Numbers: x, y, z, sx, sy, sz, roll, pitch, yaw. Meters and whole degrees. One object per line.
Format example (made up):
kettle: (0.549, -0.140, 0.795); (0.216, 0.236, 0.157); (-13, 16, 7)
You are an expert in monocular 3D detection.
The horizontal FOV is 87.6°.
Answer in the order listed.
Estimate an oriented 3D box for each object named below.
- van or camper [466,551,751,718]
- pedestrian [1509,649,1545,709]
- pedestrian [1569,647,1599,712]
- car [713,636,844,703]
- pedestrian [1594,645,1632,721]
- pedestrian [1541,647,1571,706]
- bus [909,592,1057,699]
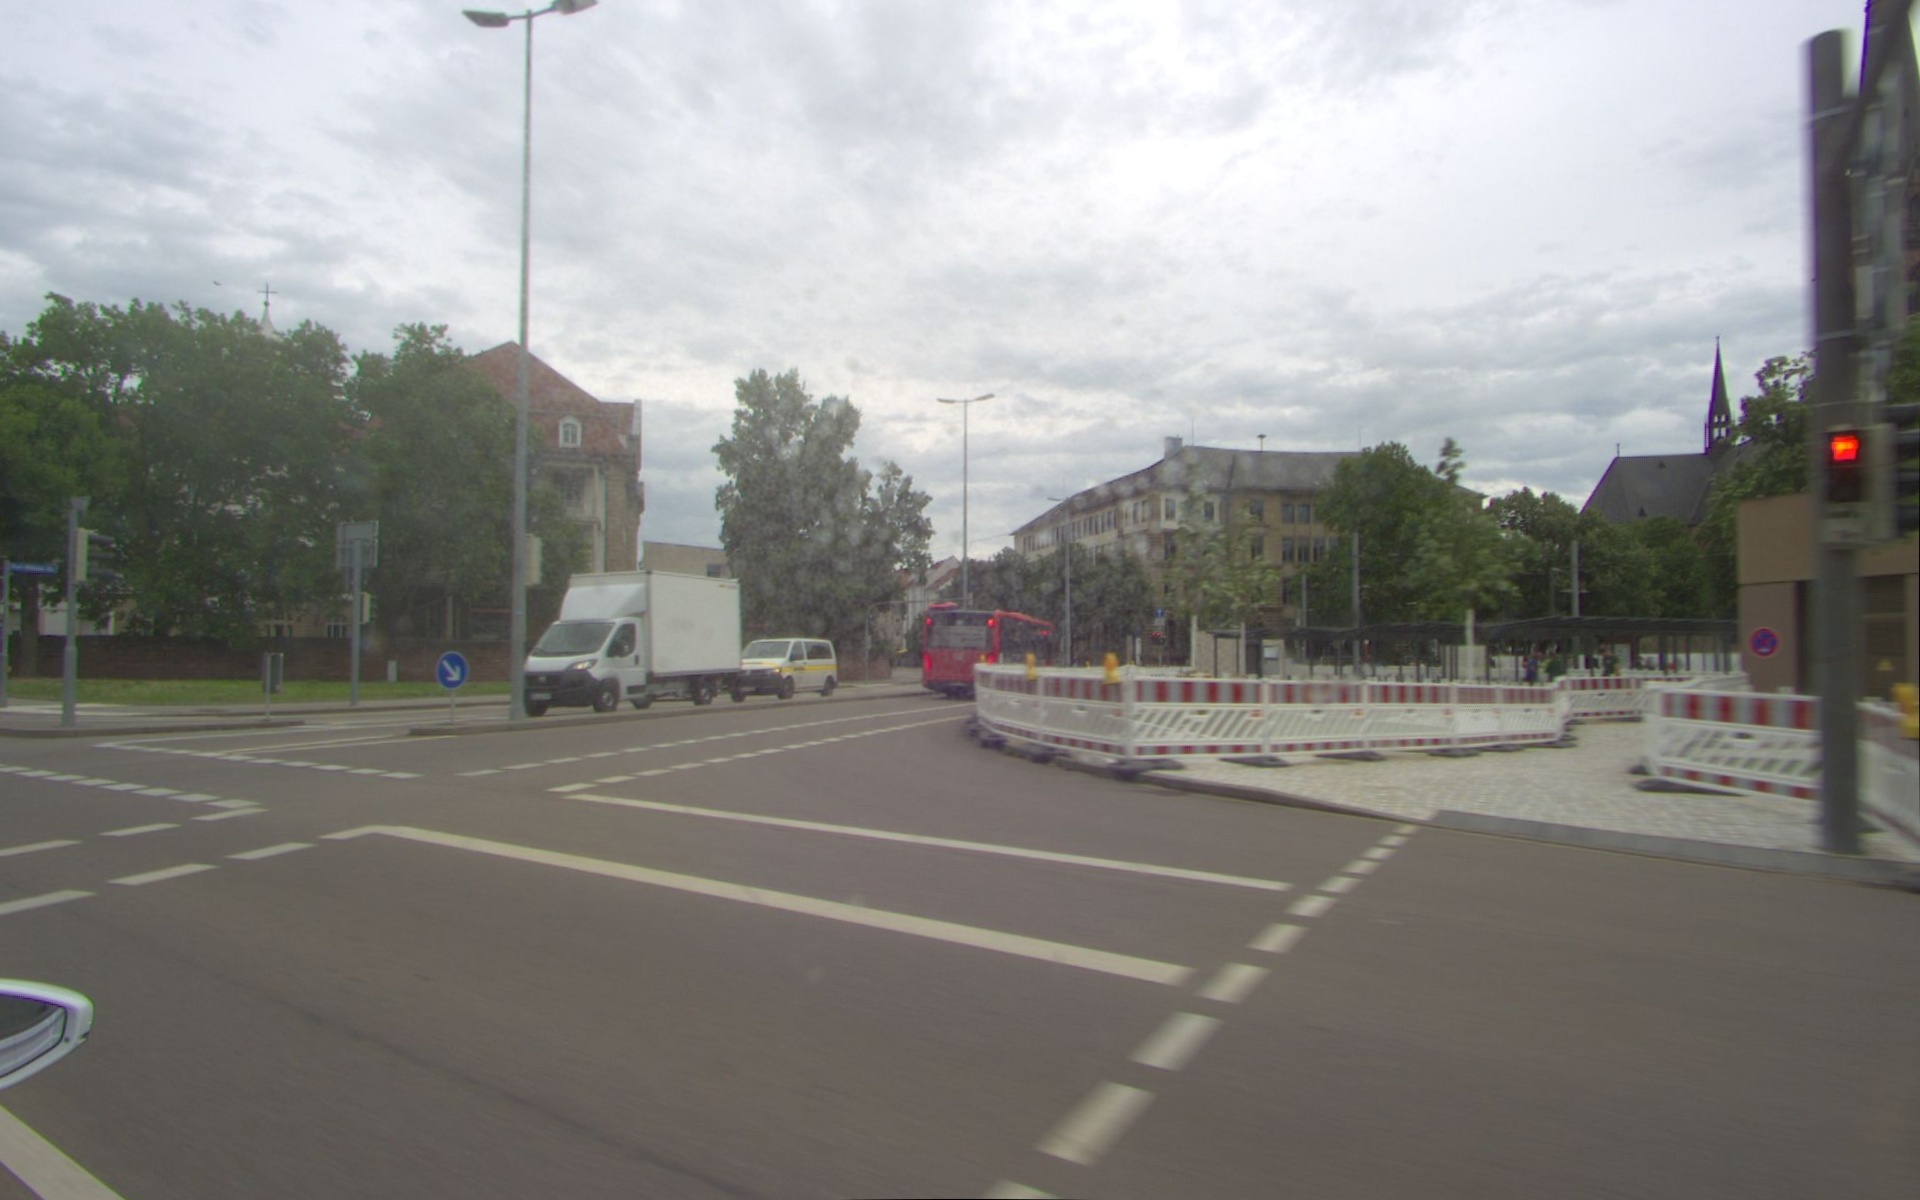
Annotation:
van or camper: (-8.050, 0.914, 24.156); (2.825, 3.373, 7.147); (-2, -3, 17)
pedestrian: (17.120, 2.376, 30.223); (0.691, 1.783, 0.758); (2, -3, -42)
pedestrian: (18.050, 2.290, 28.975); (0.635, 1.827, 0.591); (2, -3, -43)
car: (-5.638, 2.181, 31.861); (1.965, 1.887, 5.001); (-4, -4, 17)
pedestrian: (16.230, 2.059, 24.892); (0.449, 1.855, 0.645); (1, -2, -17)
pedestrian: (17.597, 2.254, 29.571); (0.597, 1.709, 0.595); (2, -3, -43)
bus: (1.276, 1.787, 37.589); (3.011, 3.338, 12.379); (0, -3, 13)
